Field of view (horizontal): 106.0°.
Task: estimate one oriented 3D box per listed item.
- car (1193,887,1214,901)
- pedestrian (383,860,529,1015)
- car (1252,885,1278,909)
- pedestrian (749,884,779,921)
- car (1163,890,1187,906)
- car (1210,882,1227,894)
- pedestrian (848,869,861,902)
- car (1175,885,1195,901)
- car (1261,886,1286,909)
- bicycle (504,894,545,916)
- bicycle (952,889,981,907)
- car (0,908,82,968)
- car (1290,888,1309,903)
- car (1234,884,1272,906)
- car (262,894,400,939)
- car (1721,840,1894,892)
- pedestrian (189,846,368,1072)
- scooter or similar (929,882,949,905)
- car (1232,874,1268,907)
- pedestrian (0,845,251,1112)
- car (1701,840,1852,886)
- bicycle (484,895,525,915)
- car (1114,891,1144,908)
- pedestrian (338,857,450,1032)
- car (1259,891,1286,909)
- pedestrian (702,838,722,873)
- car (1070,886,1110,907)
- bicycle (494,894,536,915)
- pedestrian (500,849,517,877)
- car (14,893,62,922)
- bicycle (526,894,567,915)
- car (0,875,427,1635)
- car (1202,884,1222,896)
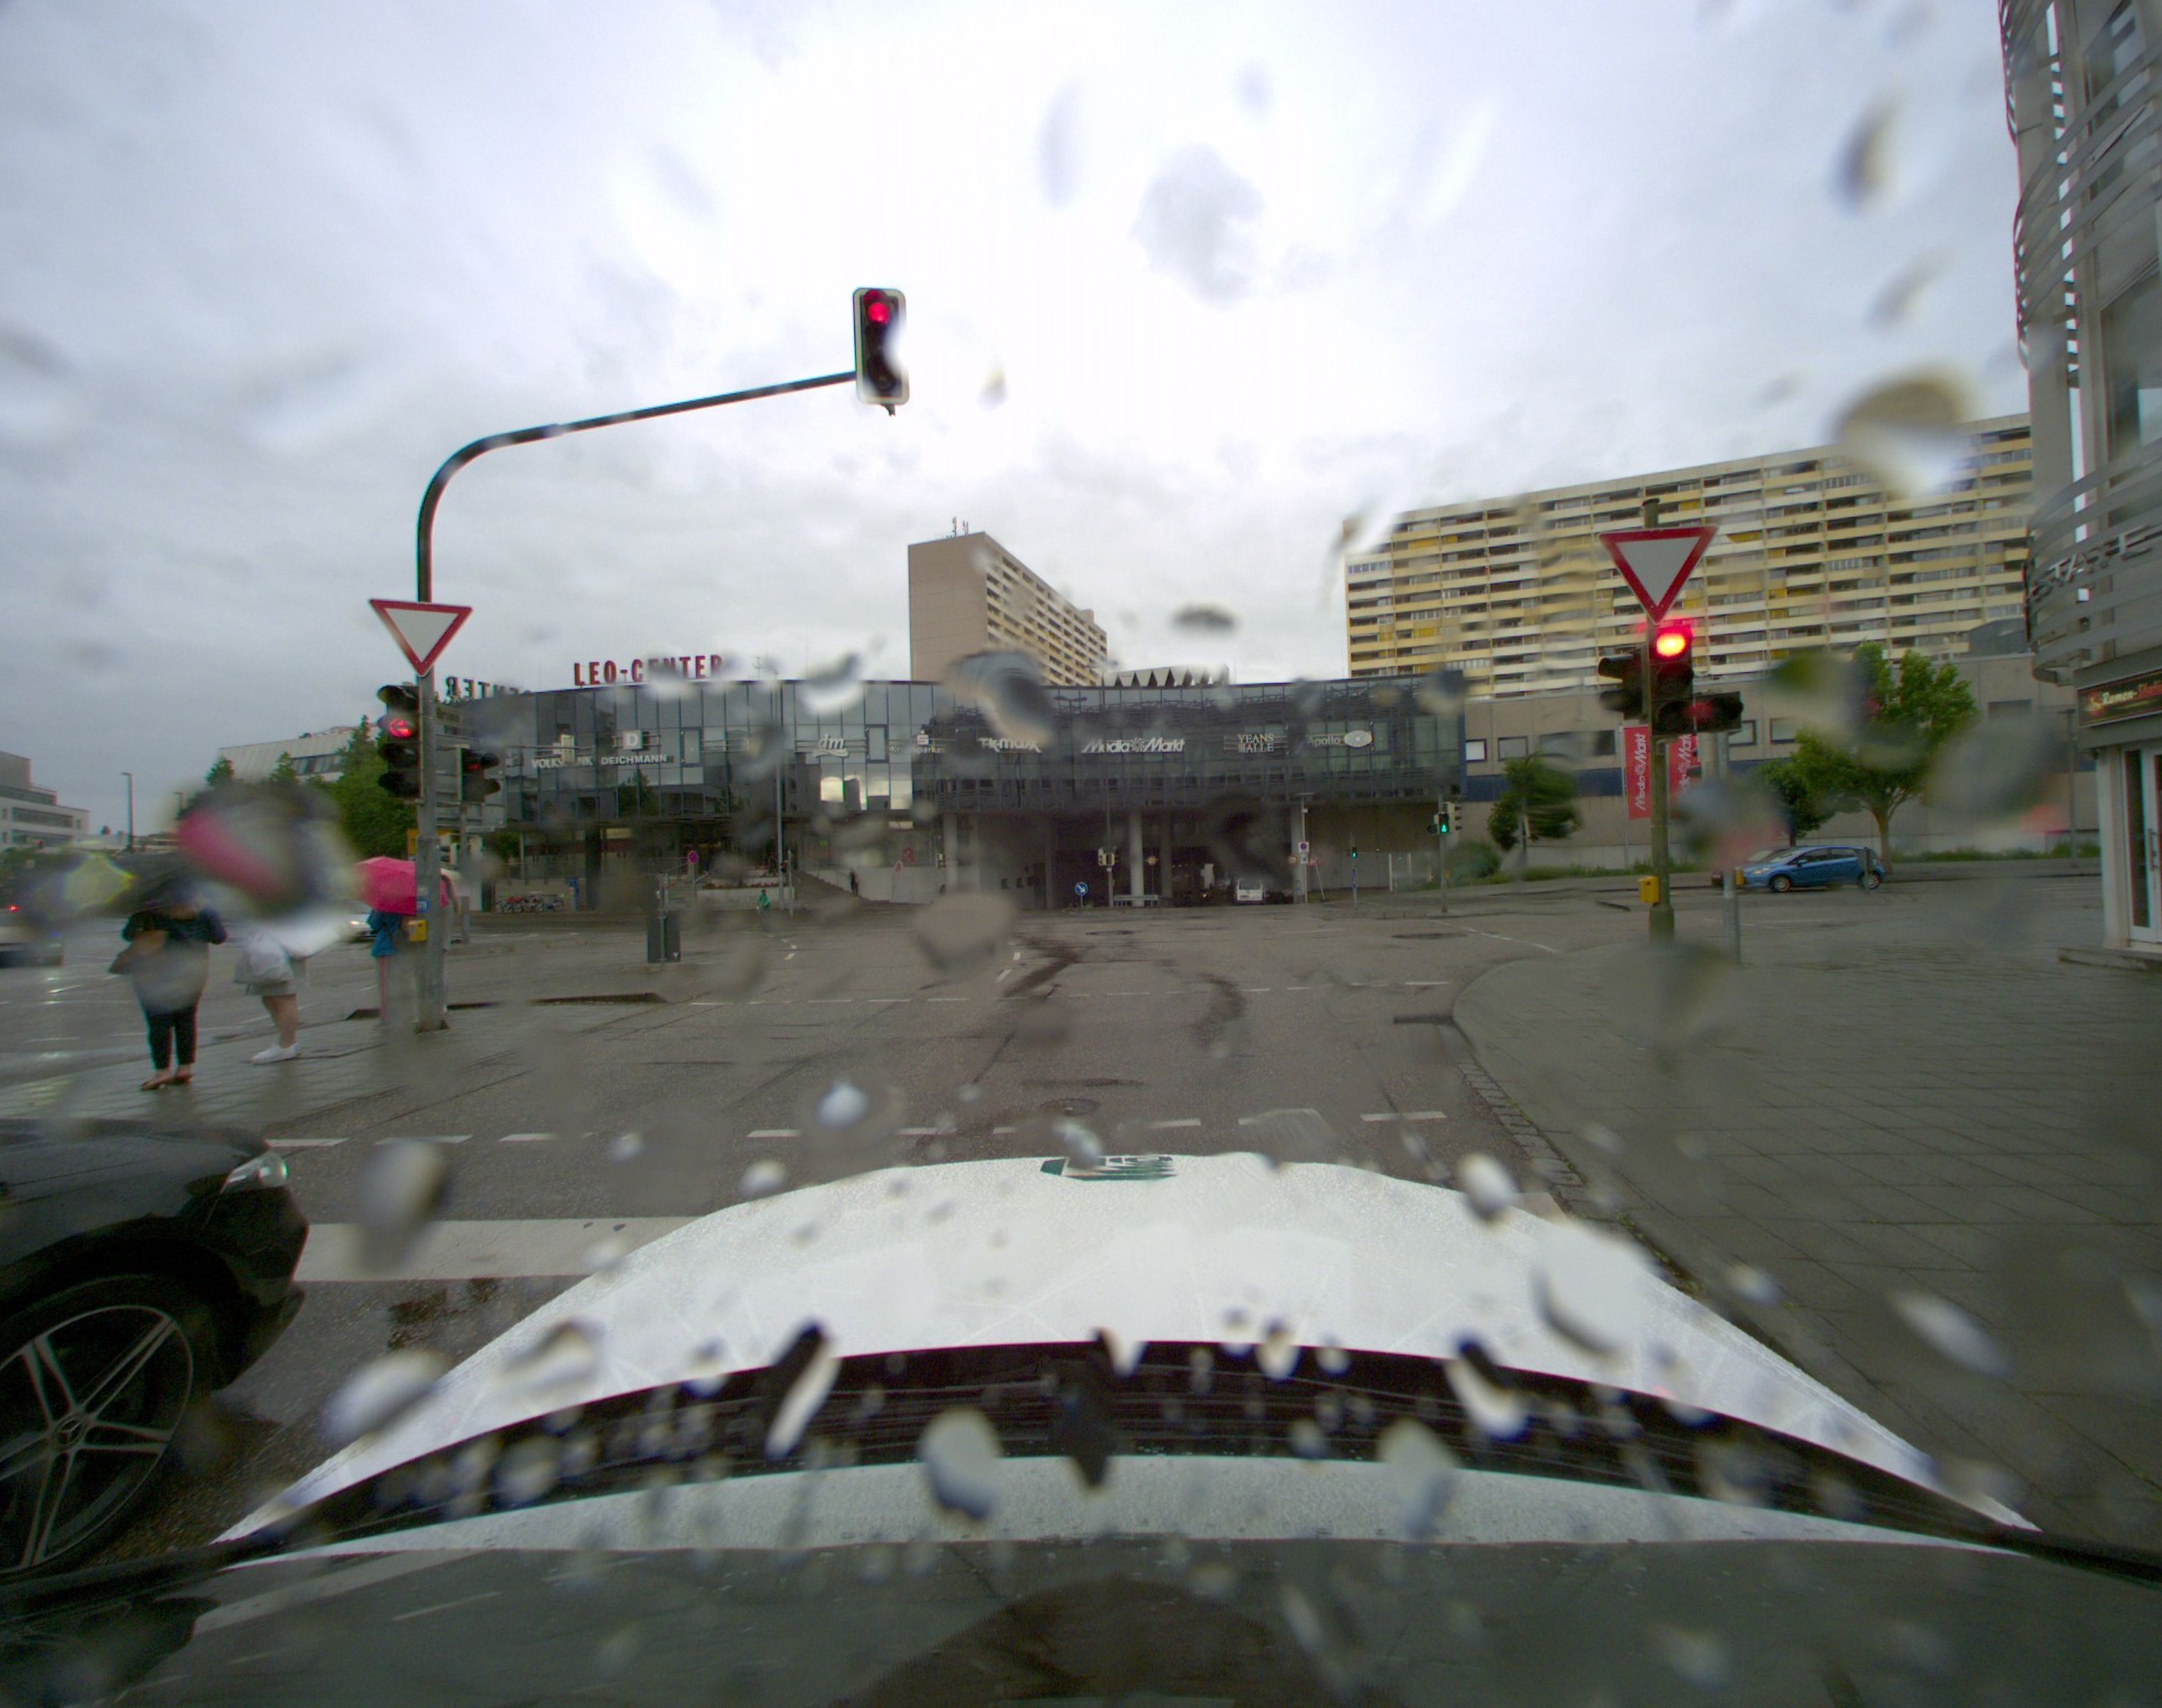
[{"bbox_3d":[15.255,4.982,101.621,1.978,1.664,4.018,-1,-1,17],"label":"car"},{"bbox_3d":[-7.179,0.923,9.404,0.932,1.677,0.917,-2,-1,1],"label":"pedestrian"},{"bbox_3d":[13.733,3.185,60.740,1.621,1.612,4.279,-3,-3,15],"label":"car"},{"bbox_3d":[-14.336,2.174,36.837,0.940,1.623,0.814,-3,-1,25],"label":"pedestrian"},{"bbox_3d":[10.523,4.871,91.141,1.899,1.588,3.956,-3,-2,17],"label":"car"},{"bbox_3d":[19.309,4.754,114.260,1.979,1.464,4.016,-3,-2,15],"label":"car"},{"bbox_3d":[-13.125,1.821,47.171,0.655,1.908,0.593,-1,-1,-6],"label":"pedestrian"},{"bbox_3d":[12.260,4.531,95.910,1.823,1.728,4.014,-2,-1,13],"label":"car"},{"bbox_3d":[16.722,3.741,70.627,1.777,1.771,4.017,-3,-2,17],"label":"car"},{"bbox_3d":[-31.676,2.880,46.378,0.640,1.042,1.865,-3,1,20],"label":"bicycle"},{"bbox_3d":[-6.874,2.643,48.982,1.591,1.018,0.448,5,-4,-29],"label":"bicycle"},{"bbox_3d":[-28.301,2.174,21.219,5.079,1.414,2.136,-3,-2,31],"label":"car"},{"bbox_3d":[24.278,4.572,90.425,1.874,1.491,3.856,-1,-1,16],"label":"car"},{"bbox_3d":[11.864,2.847,56.047,1.742,1.464,3.963,-3,-5,23],"label":"car"},{"bbox_3d":[-26.493,2.204,28.780,3.949,1.441,1.754,-2,-1,16],"label":"car"},{"bbox_3d":[23.415,0.399,26.390,3.819,1.397,1.684,-3,-2,10],"label":"car"},{"bbox_3d":[-6.873,0.829,6.979,1.123,1.744,0.865,-3,-1,34],"label":"pedestrian"},{"bbox_3d":[-8.470,2.336,48.538,1.167,1.373,0.487,0,-1,-13],"label":"scooter or similar"},{"bbox_3d":[10.111,2.158,48.515,1.912,1.798,4.310,-2,-3,13],"label":"car"},{"bbox_3d":[-6.932,0.830,5.971,0.956,1.736,0.829,-2,-2,-28],"label":"pedestrian"},{"bbox_3d":[24.857,0.326,29.241,3.660,1.395,1.750,-3,-2,11],"label":"car"},{"bbox_3d":[-33.072,2.911,46.760,0.529,0.951,1.865,-1,2,23],"label":"bicycle"},{"bbox_3d":[4.430,4.134,74.430,1.756,1.464,3.892,-3,-4,17],"label":"car"},{"bbox_3d":[-7.139,0.899,8.463,0.665,1.685,0.811,-4,-2,45],"label":"pedestrian"},{"bbox_3d":[15.449,3.741,65.702,1.765,1.400,4.017,-3,-4,17],"label":"car"},{"bbox_3d":[-21.535,0.110,47.519,0.830,2.014,0.949,0,-1,-10],"label":"pedestrian"},{"bbox_3d":[0.713,3.315,62.592,1.877,1.470,4.044,-2,-5,18],"label":"car"},{"bbox_3d":[-32.386,2.893,46.623,0.621,1.033,1.865,-3,1,20],"label":"bicycle"},{"bbox_3d":[-34.985,0.549,49.767,0.592,1.714,0.658,-1,-1,25],"label":"pedestrian"},{"bbox_3d":[-75.158,3.818,58.676,4.085,1.896,2.062,-1,-1,38],"label":"car"},{"bbox_3d":[-30.089,2.823,45.901,0.625,1.023,1.864,-3,1,20],"label":"bicycle"},{"bbox_3d":[-2.992,0.825,0.616,1.657,1.481,4.094,0,0,0],"label":"car"},{"bbox_3d":[17.599,4.809,109.212,1.978,1.464,4.018,-3,-2,17],"label":"car"}]
